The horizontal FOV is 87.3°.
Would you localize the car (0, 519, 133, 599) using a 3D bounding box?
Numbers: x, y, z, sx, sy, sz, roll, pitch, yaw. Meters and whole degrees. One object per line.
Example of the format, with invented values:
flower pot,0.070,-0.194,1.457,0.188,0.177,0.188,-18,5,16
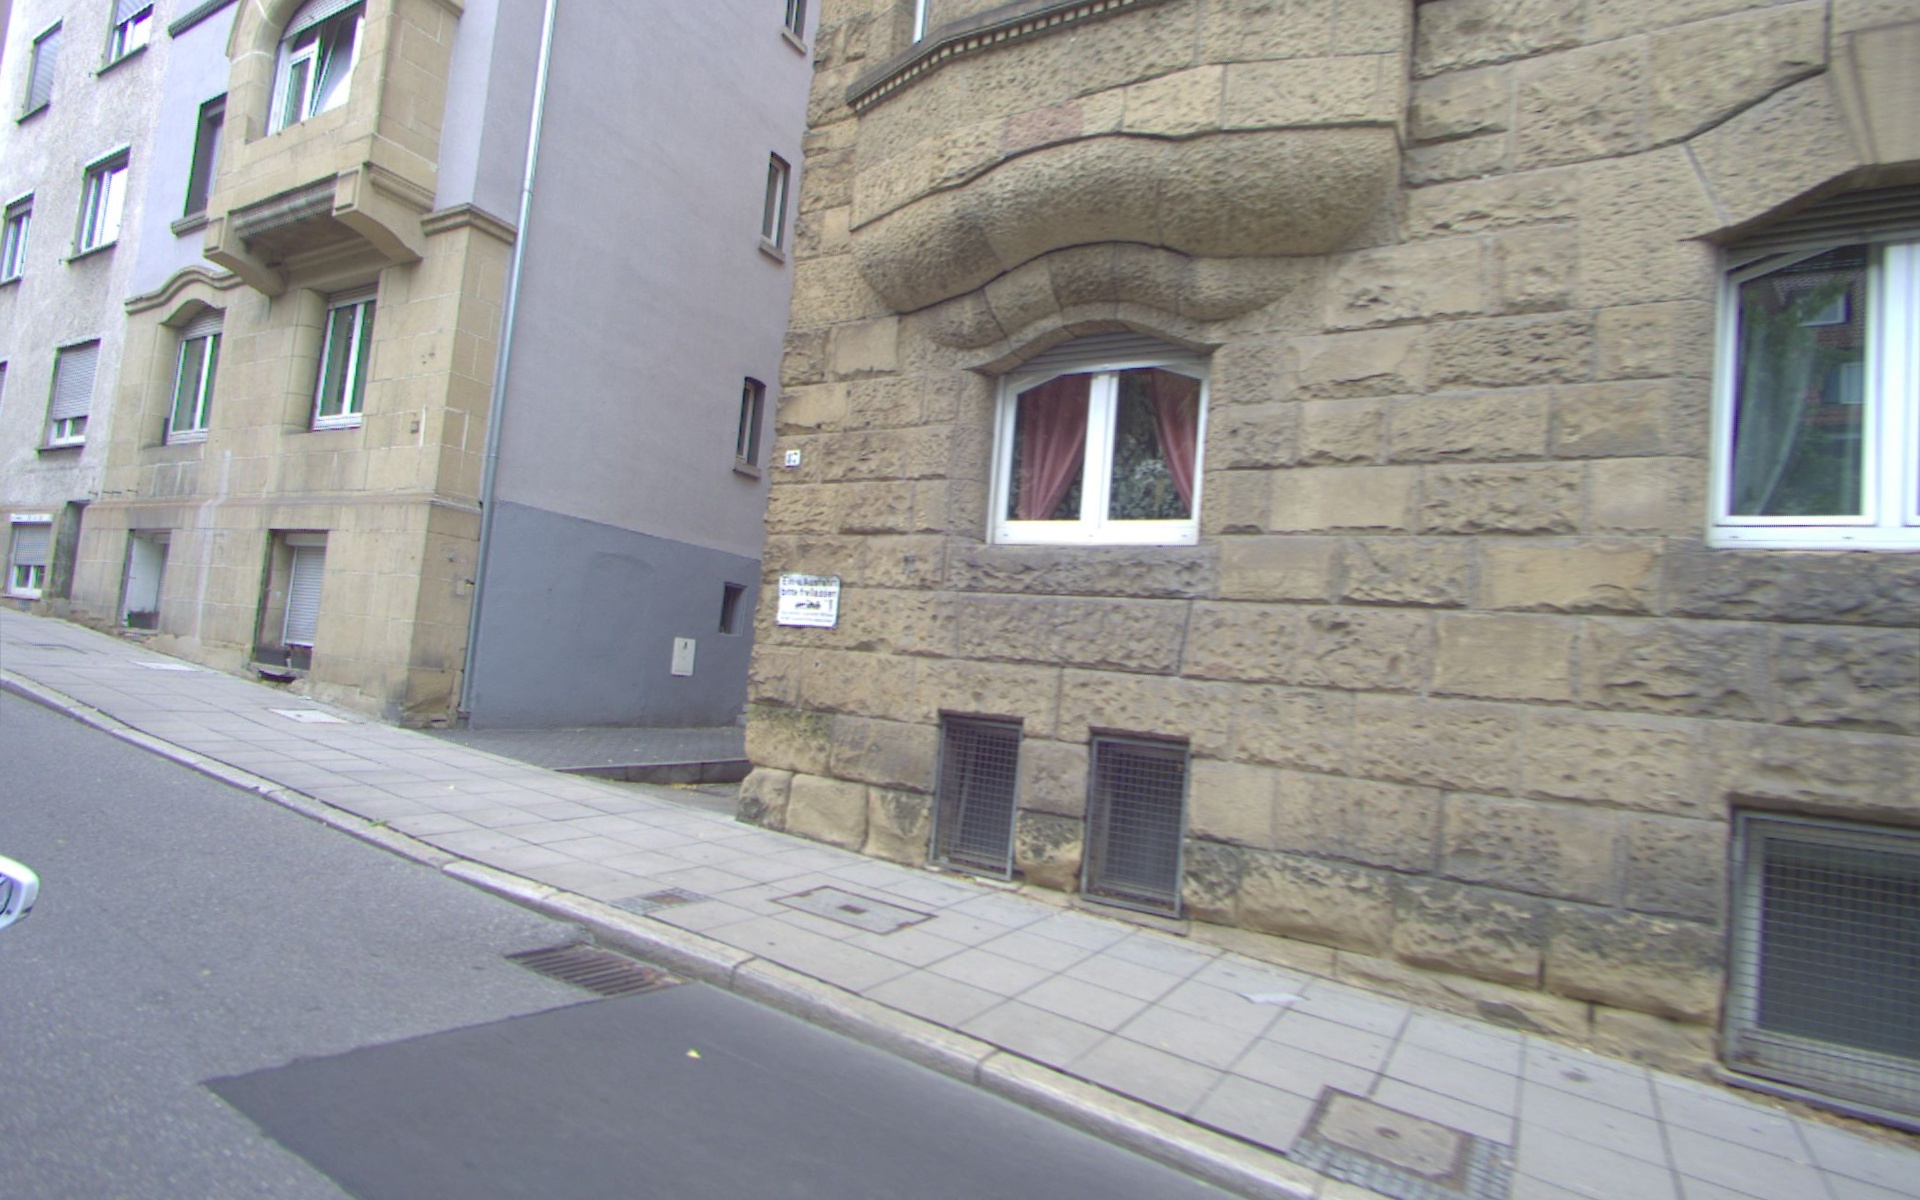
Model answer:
car,-22.210,-1.106,23.503,1.770,1.418,3.998,9,-3,32
